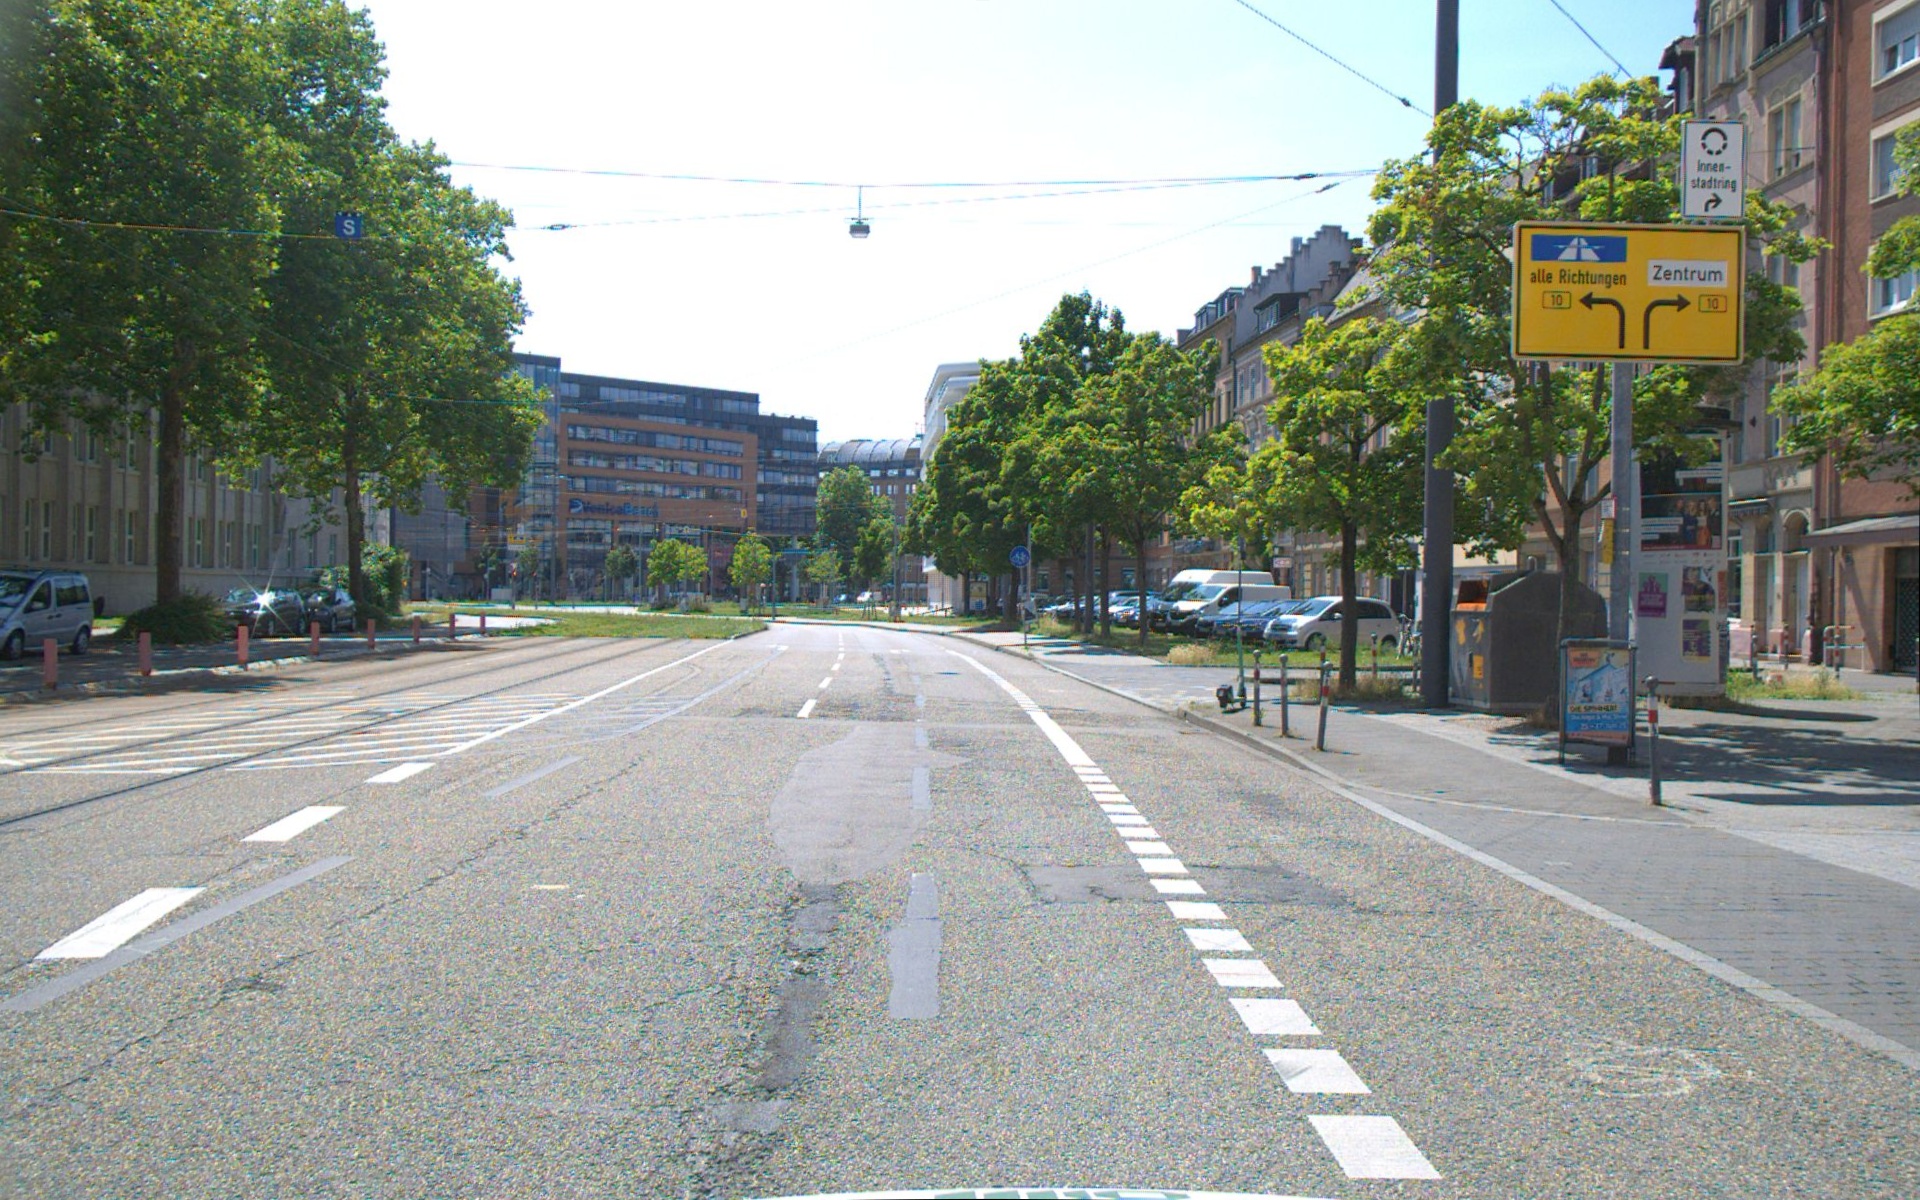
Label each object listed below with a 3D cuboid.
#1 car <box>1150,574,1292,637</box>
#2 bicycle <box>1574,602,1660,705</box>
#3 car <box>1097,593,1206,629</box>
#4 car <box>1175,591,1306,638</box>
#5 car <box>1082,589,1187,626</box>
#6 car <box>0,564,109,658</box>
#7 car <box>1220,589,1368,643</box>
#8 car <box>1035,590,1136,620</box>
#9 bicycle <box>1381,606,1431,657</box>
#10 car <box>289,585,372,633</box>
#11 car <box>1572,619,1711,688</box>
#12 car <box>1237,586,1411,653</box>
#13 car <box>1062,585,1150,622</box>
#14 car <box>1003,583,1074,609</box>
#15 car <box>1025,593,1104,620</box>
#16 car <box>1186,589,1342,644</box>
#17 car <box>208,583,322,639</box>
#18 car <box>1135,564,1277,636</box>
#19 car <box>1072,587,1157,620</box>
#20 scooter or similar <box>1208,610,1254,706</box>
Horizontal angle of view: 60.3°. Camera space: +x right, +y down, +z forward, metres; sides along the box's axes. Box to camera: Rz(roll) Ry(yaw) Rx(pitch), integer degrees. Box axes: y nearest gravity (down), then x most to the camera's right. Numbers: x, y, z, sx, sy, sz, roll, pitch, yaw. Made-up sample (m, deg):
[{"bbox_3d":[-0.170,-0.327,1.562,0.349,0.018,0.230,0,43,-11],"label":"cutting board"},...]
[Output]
[{"bbox_3d":[9.197,0.201,58.058,4.789,2.007,2.053,2,0,-34],"label":"car"},{"bbox_3d":[8.753,0.695,22.096,0.503,1.312,1.547,2,0,0],"label":"bicycle"},{"bbox_3d":[8.036,0.462,69.204,4.384,1.362,1.947,2,0,-37],"label":"car"},{"bbox_3d":[9.233,0.485,54.514,3.937,1.411,1.809,2,0,-26],"label":"car"},{"bbox_3d":[7.707,0.340,72.653,4.651,1.452,1.943,2,0,-42],"label":"car"},{"bbox_3d":[-19.739,0.180,34.370,1.954,1.842,4.298,2,0,-3],"label":"car"},{"bbox_3d":[9.729,0.476,48.188,3.937,1.424,1.809,2,0,-26],"label":"car"},{"bbox_3d":[6.391,0.260,84.304,4.714,1.336,2.132,2,0,-27],"label":"car"},{"bbox_3d":[11.248,0.796,41.632,0.724,1.214,2.357,2,0,27],"label":"bicycle"},{"bbox_3d":[-20.726,0.278,54.595,1.558,1.448,4.315,2,0,-8],"label":"car"},{"bbox_3d":[18.063,1.373,44.064,1.952,1.628,4.600,2,0,3],"label":"car"},{"bbox_3d":[9.941,0.525,45.168,4.345,1.660,1.983,2,0,-27],"label":"car"},{"bbox_3d":[7.243,0.169,82.167,3.946,1.691,1.952,2,0,-31],"label":"car"},{"bbox_3d":[5.534,-0.278,116.766,4.811,1.629,1.816,2,0,-32],"label":"car"},{"bbox_3d":[5.815,0.372,91.835,3.938,1.336,1.956,2,0,-27],"label":"car"},{"bbox_3d":[9.448,0.513,51.334,4.566,1.523,1.947,2,0,-29],"label":"car"},{"bbox_3d":[-20.402,0.307,48.737,1.728,1.509,4.320,2,0,-4],"label":"car"},{"bbox_3d":[9.189,0.019,61.490,5.502,2.503,2.205,2,0,-42],"label":"car"},{"bbox_3d":[7.407,0.179,79.115,3.957,1.424,1.690,2,0,-37],"label":"car"},{"bbox_3d":[3.760,0.789,22.887,0.382,1.235,1.180,-2,1,20],"label":"scooter or similar"}]
